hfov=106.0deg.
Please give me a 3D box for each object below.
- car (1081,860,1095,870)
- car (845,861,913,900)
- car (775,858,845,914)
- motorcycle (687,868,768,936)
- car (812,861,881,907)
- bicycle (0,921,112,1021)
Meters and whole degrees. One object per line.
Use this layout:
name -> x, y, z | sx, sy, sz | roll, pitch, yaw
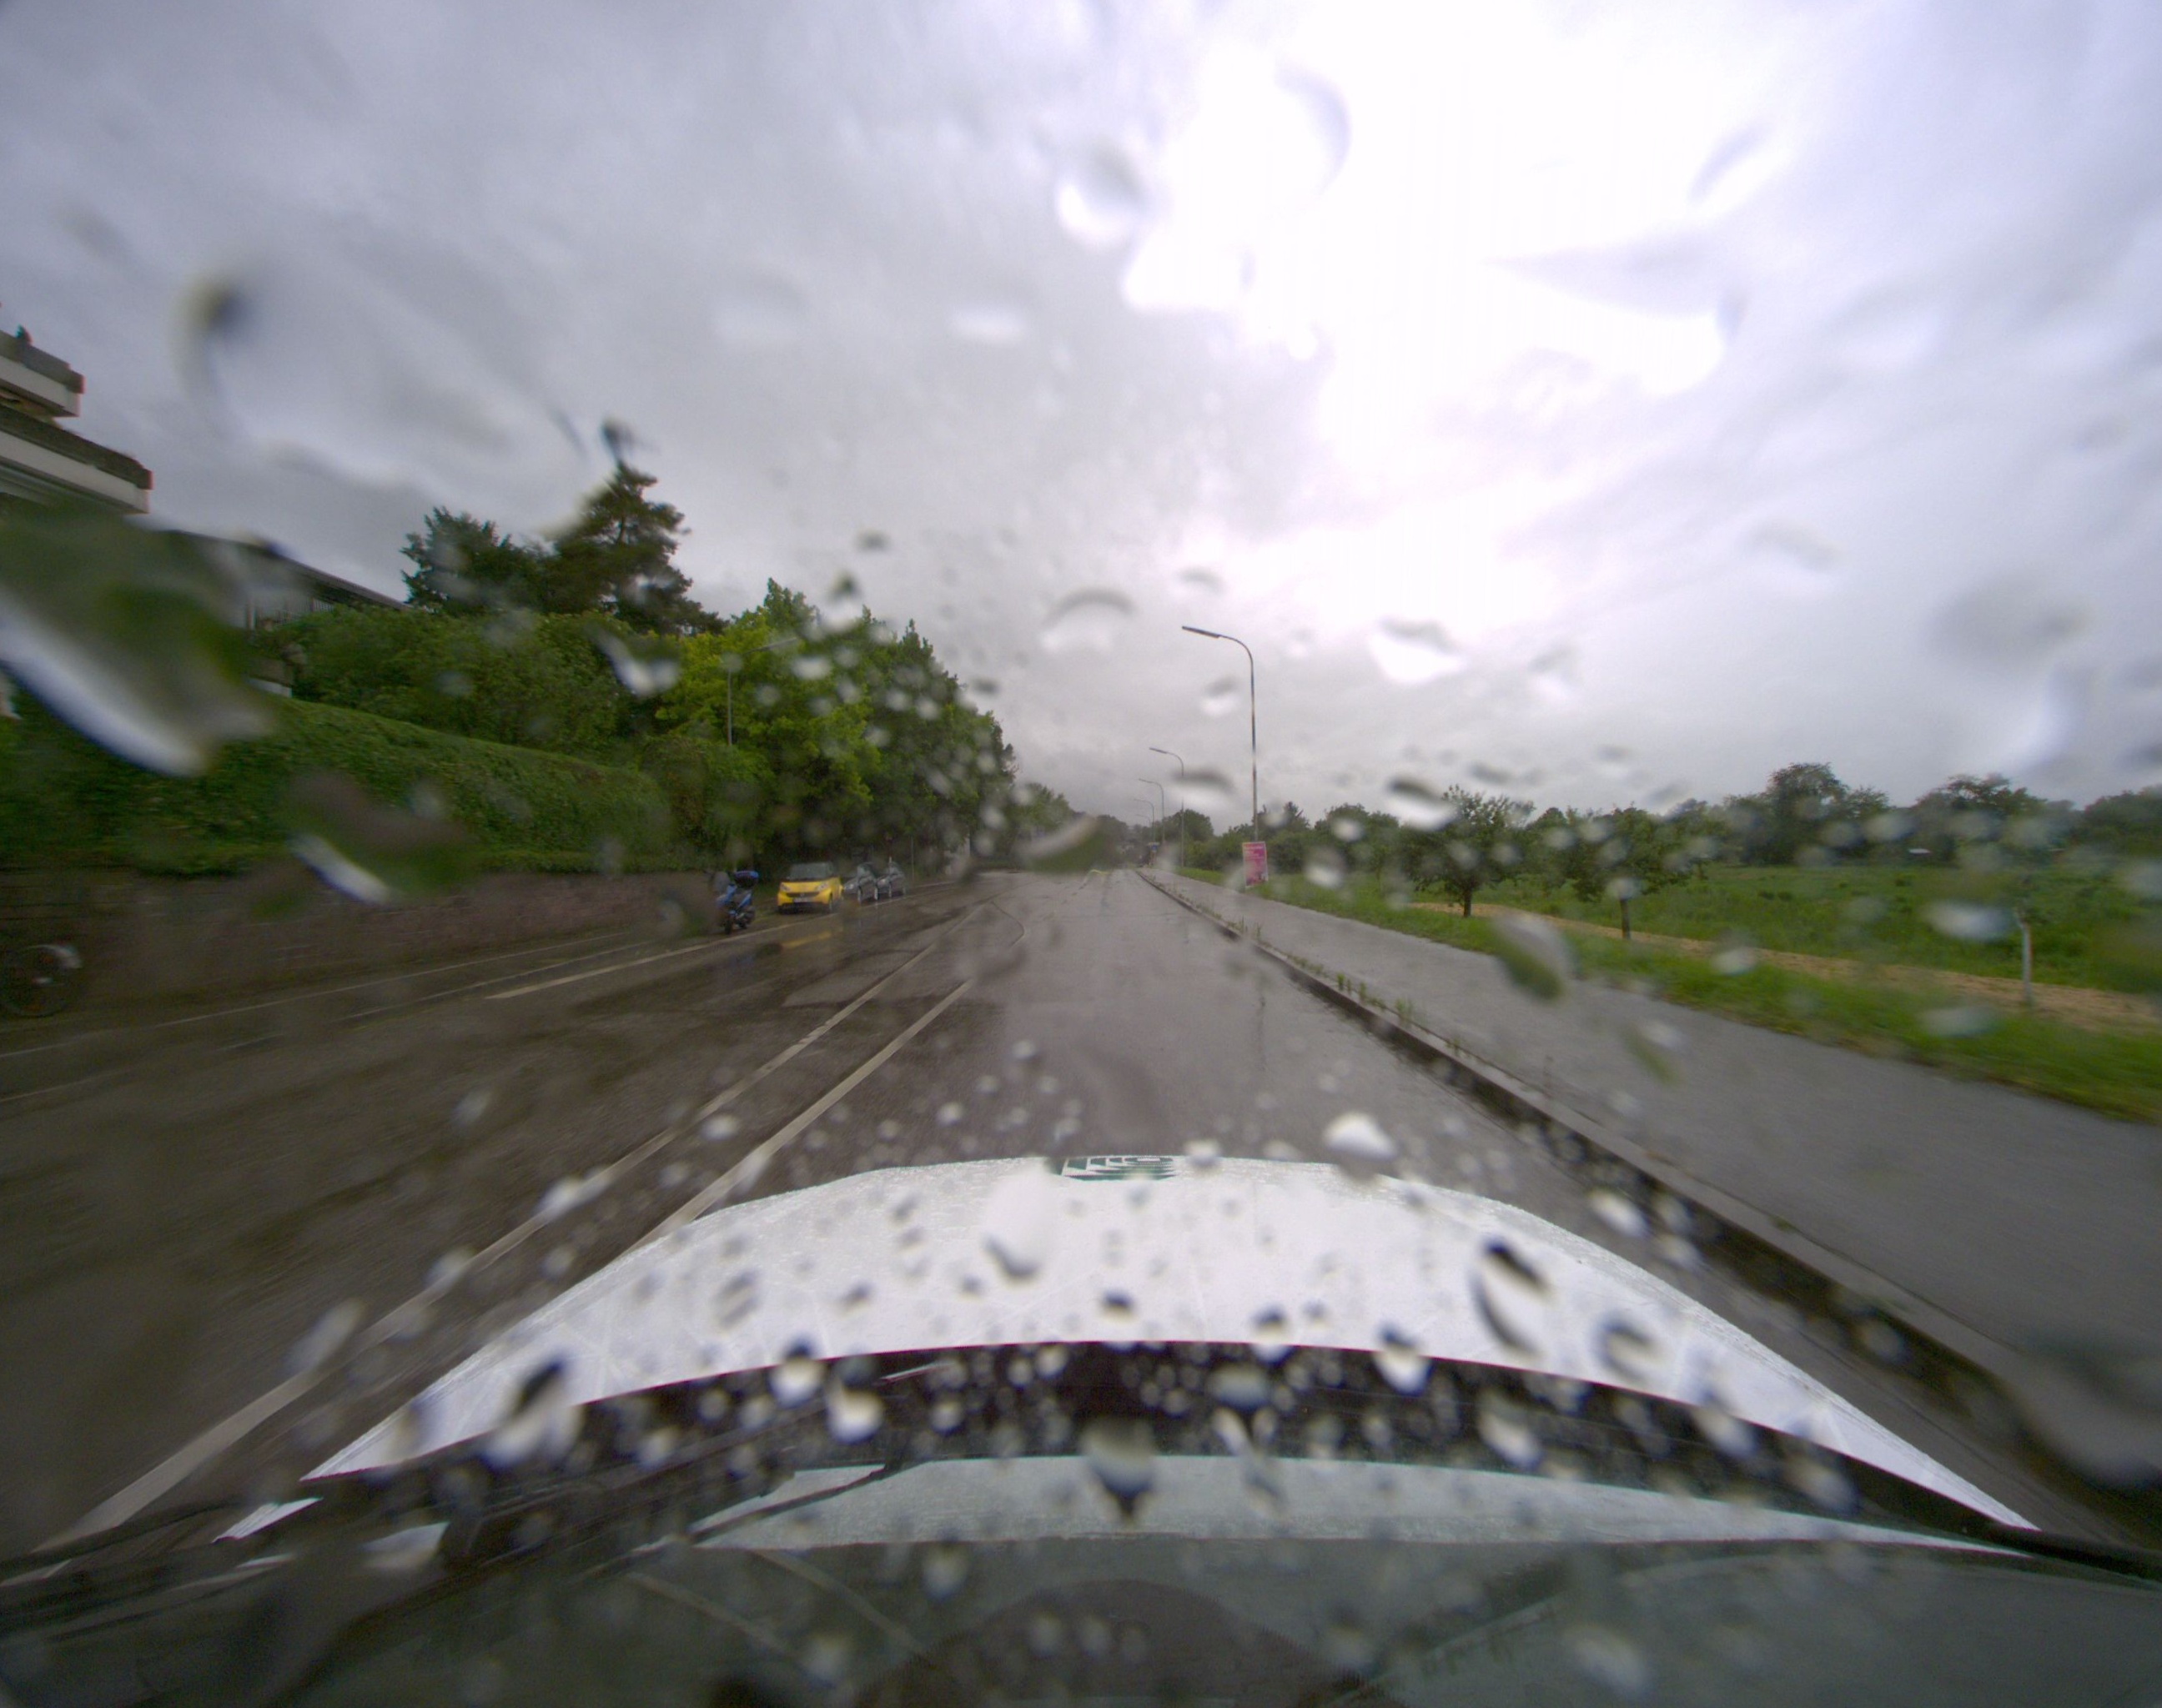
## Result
car -> 1.203, 1.982, 144.895 | 1.782, 1.762, 4.012 | -1, 0, 11
car -> -8.340, 1.045, 33.986 | 1.682, 1.419, 4.739 | -2, 0, -1
car -> -8.080, 0.913, 24.505 | 1.432, 1.537, 2.812 | -2, 0, -7
motorcycle -> -7.682, 1.005, 17.865 | 0.836, 1.341, 2.494 | -2, 0, -5
car -> -8.113, 0.997, 28.494 | 1.430, 1.419, 4.098 | -2, 0, -4
bicycle -> -10.708, 1.156, 8.087 | 1.481, 0.929, 0.469 | 0, -1, -5
